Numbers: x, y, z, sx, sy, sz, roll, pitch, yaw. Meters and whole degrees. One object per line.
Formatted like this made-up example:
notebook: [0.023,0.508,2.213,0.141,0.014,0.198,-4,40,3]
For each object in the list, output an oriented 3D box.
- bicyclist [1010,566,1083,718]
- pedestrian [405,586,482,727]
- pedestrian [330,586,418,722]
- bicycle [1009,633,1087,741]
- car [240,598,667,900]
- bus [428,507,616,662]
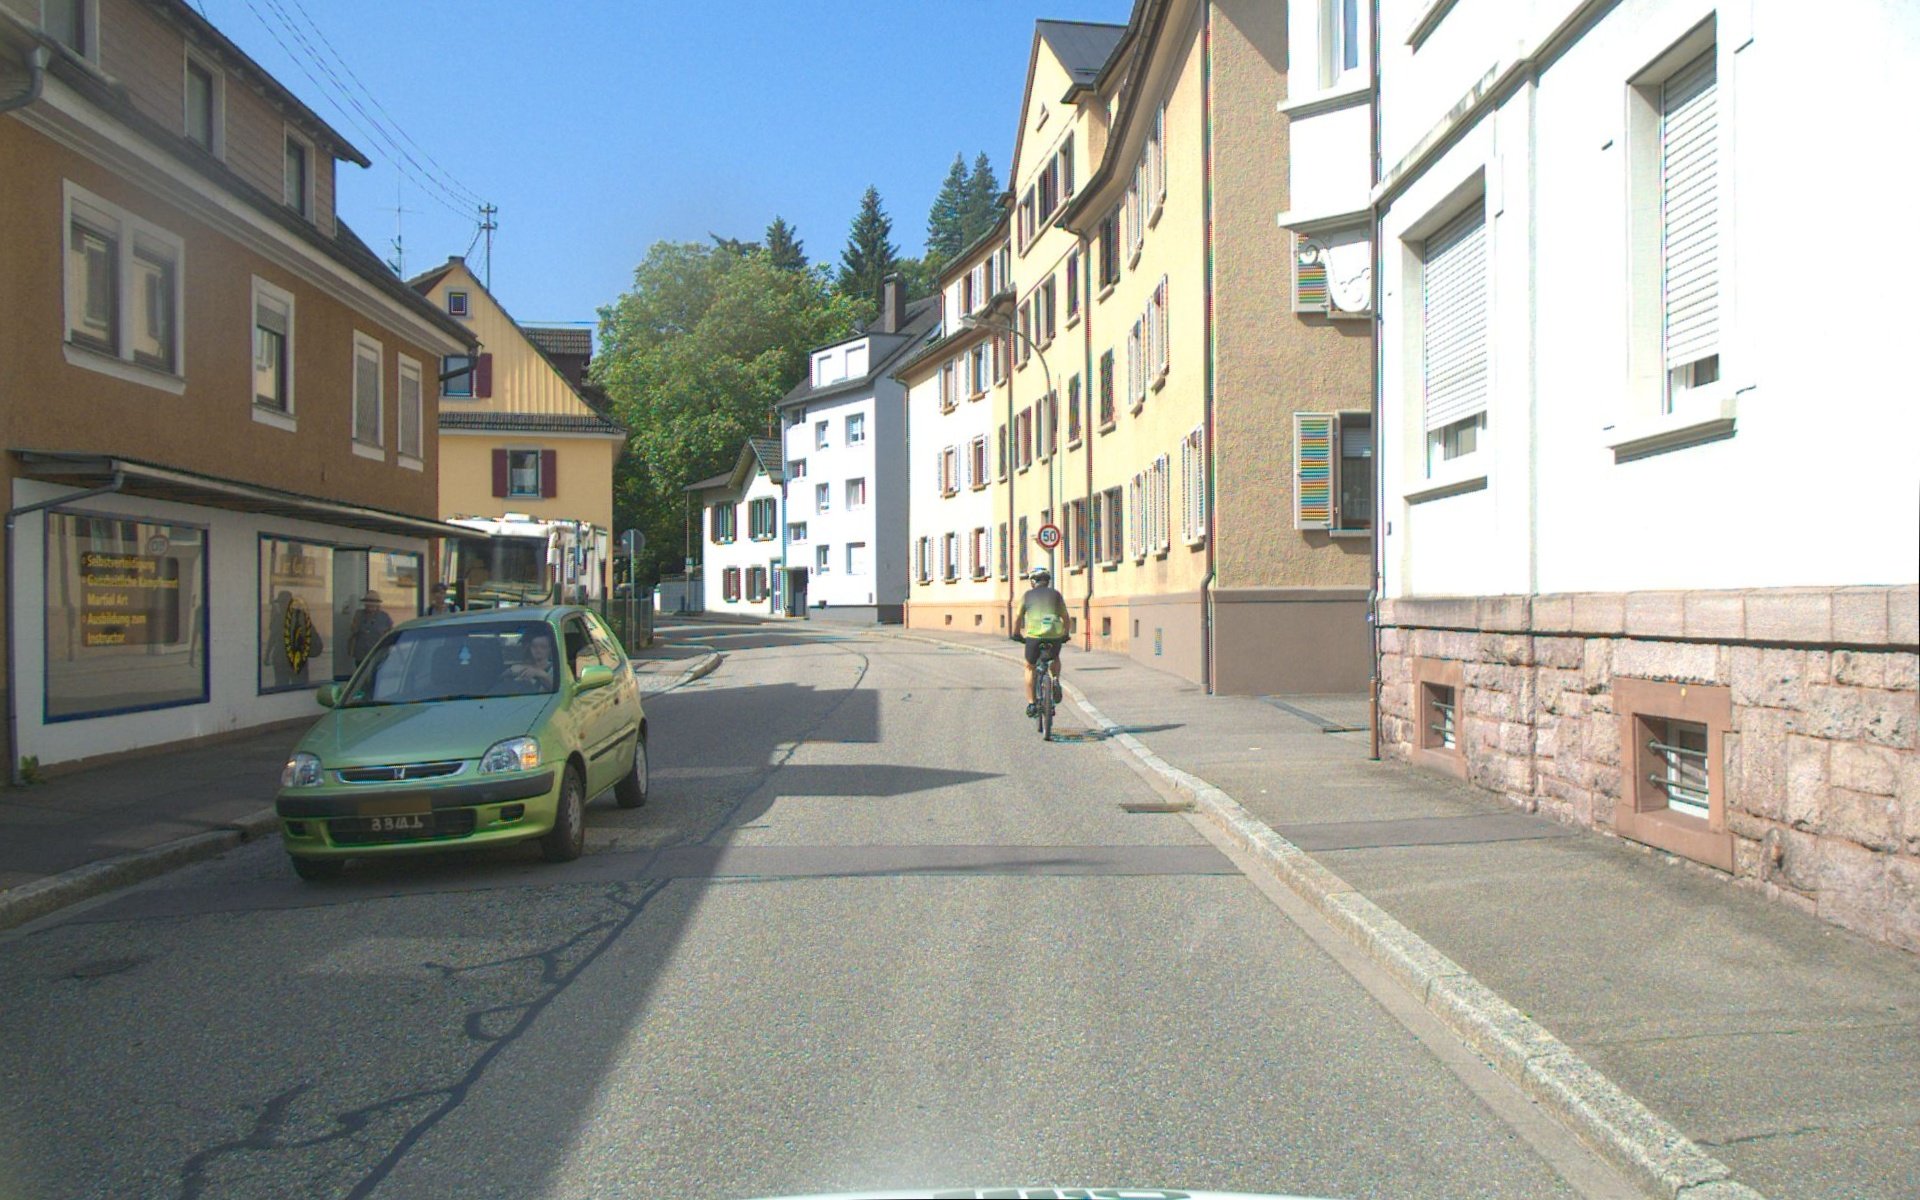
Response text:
bicyclist: [0.912,0.437,17.510,0.672,1.558,0.715,-1,0,-3]
pedestrian: [-6.257,0.671,20.057,0.626,1.655,0.777,2,0,-1]
pedestrian: [-7.121,0.646,20.132,0.720,1.592,0.824,3,0,-1]
bicycle: [0.918,0.901,17.568,0.684,1.053,1.470,0,0,-3]
car: [-2.997,0.780,10.561,1.564,1.490,3.659,-4,0,-1]
bus: [-10.413,-0.342,40.276,2.765,3.284,9.027,1,0,-4]
